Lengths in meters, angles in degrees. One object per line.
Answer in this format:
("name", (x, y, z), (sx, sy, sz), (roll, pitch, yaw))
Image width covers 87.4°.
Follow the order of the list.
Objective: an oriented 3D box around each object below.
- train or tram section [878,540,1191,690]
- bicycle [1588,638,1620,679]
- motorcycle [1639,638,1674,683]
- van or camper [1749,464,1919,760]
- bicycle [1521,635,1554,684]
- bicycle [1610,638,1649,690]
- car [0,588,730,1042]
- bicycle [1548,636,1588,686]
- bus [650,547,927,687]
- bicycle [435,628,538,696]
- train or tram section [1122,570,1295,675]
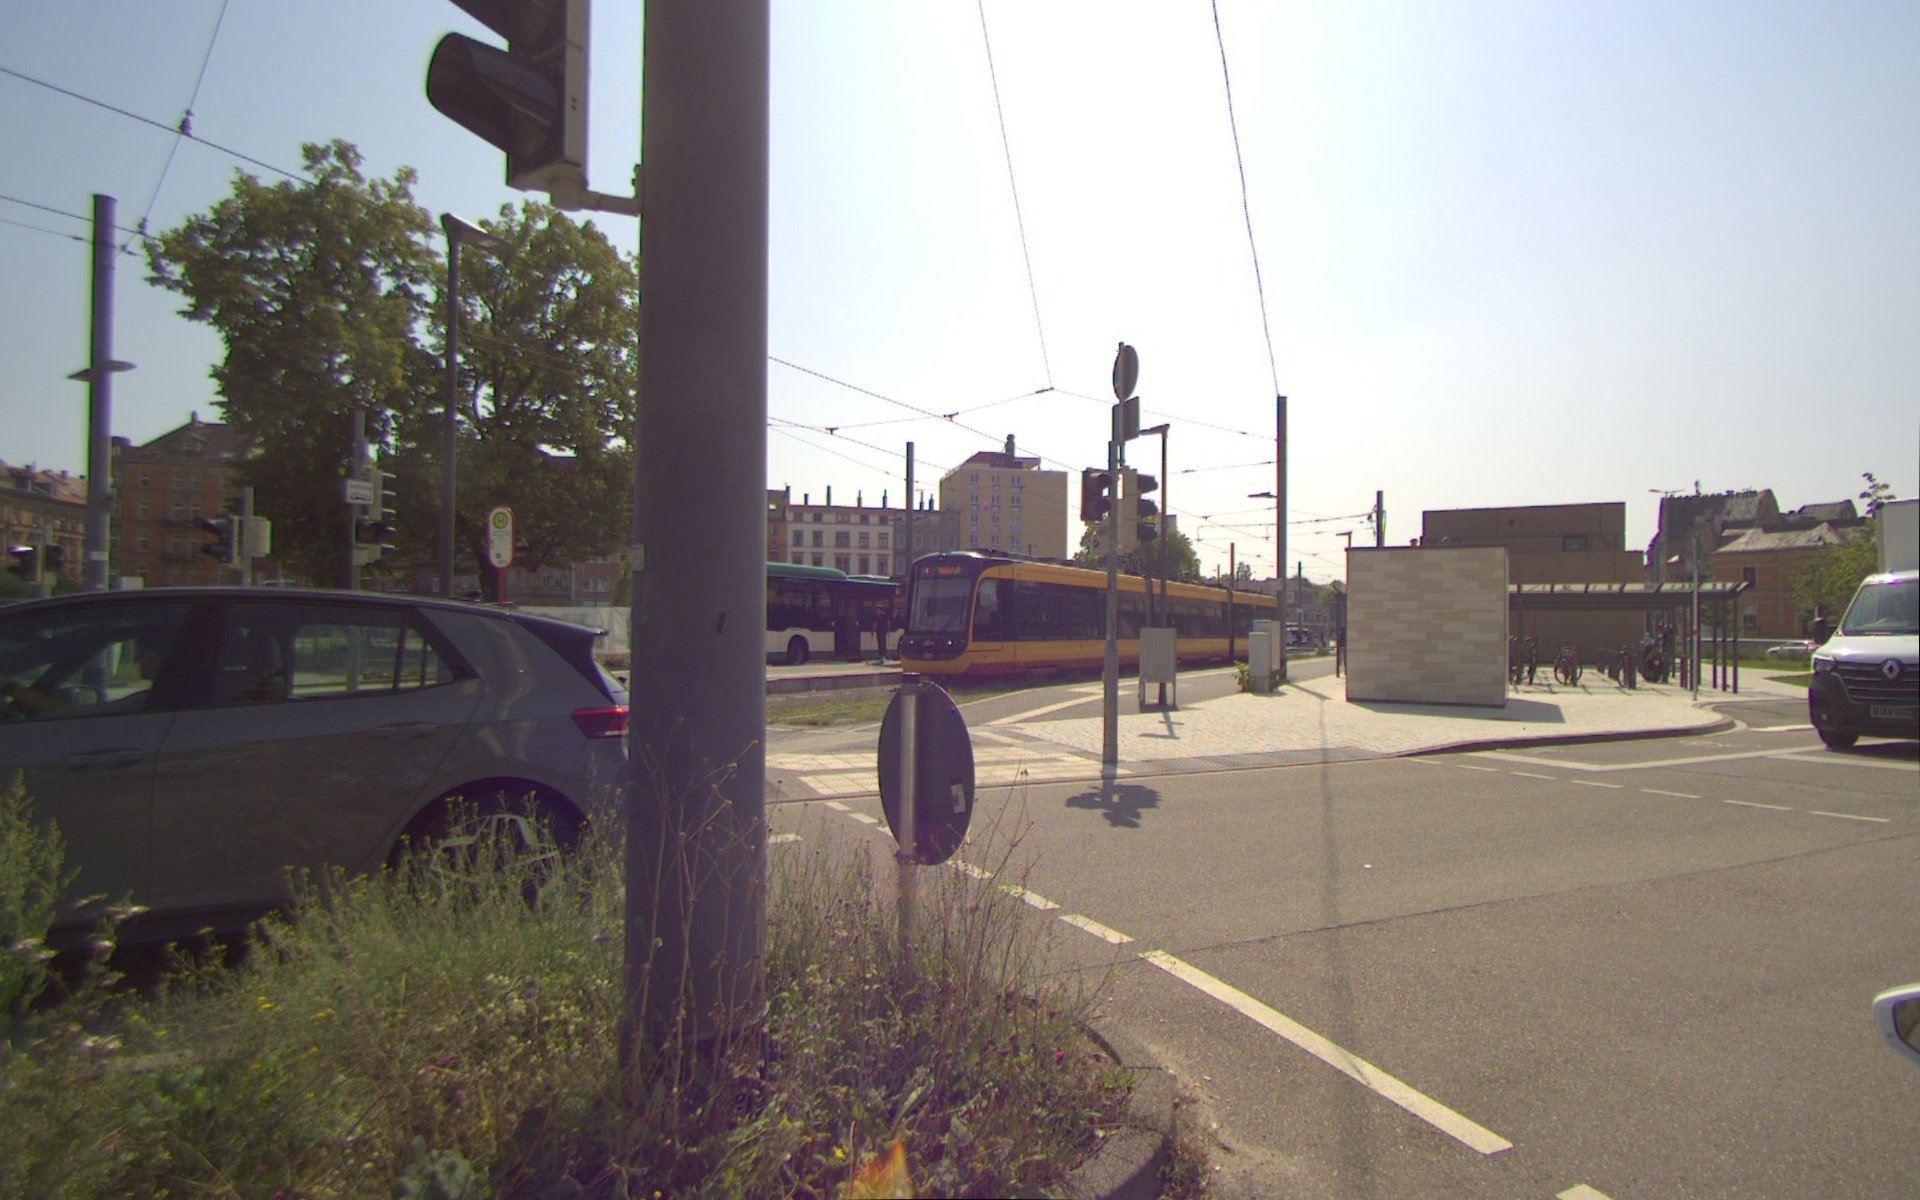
("train or tram section", (3.504, 0.591, 32.401), (2.814, 3.595, 17.712), (0, -1, 29))
("bicycle", (20.284, 1.825, 31.624), (0.597, 1.226, 1.801), (-1, -2, 40))
("motorcycle", (20.261, 1.744, 29.199), (0.597, 1.226, 2.242), (-1, -2, 40))
("van or camper", (13.889, 0.196, 13.370), (7.092, 3.350, 2.393), (1, -2, -25))
("bicycle", (15.127, 1.540, 26.296), (0.532, 1.226, 1.606), (-1, -2, 38))
("bicycle", (16.601, 1.559, 24.895), (0.597, 1.226, 1.801), (-1, -2, 40))
("car", (-3.247, 0.762, 4.392), (4.126, 1.550, 1.692), (1, -2, -25))
("bicycle", (15.677, 1.540, 25.890), (0.597, 1.226, 1.801), (-1, -2, 40))
("bus", (-5.071, 0.597, 32.876), (2.914, 3.824, 10.579), (0, -1, 29))
("bicycle", (-9.033, 1.159, 19.223), (0.599, 1.239, 1.700), (0, -2, 34))
("train or tram section", (12.620, 1.133, 48.415), (2.844, 4.121, 19.105), (0, -1, 30))
